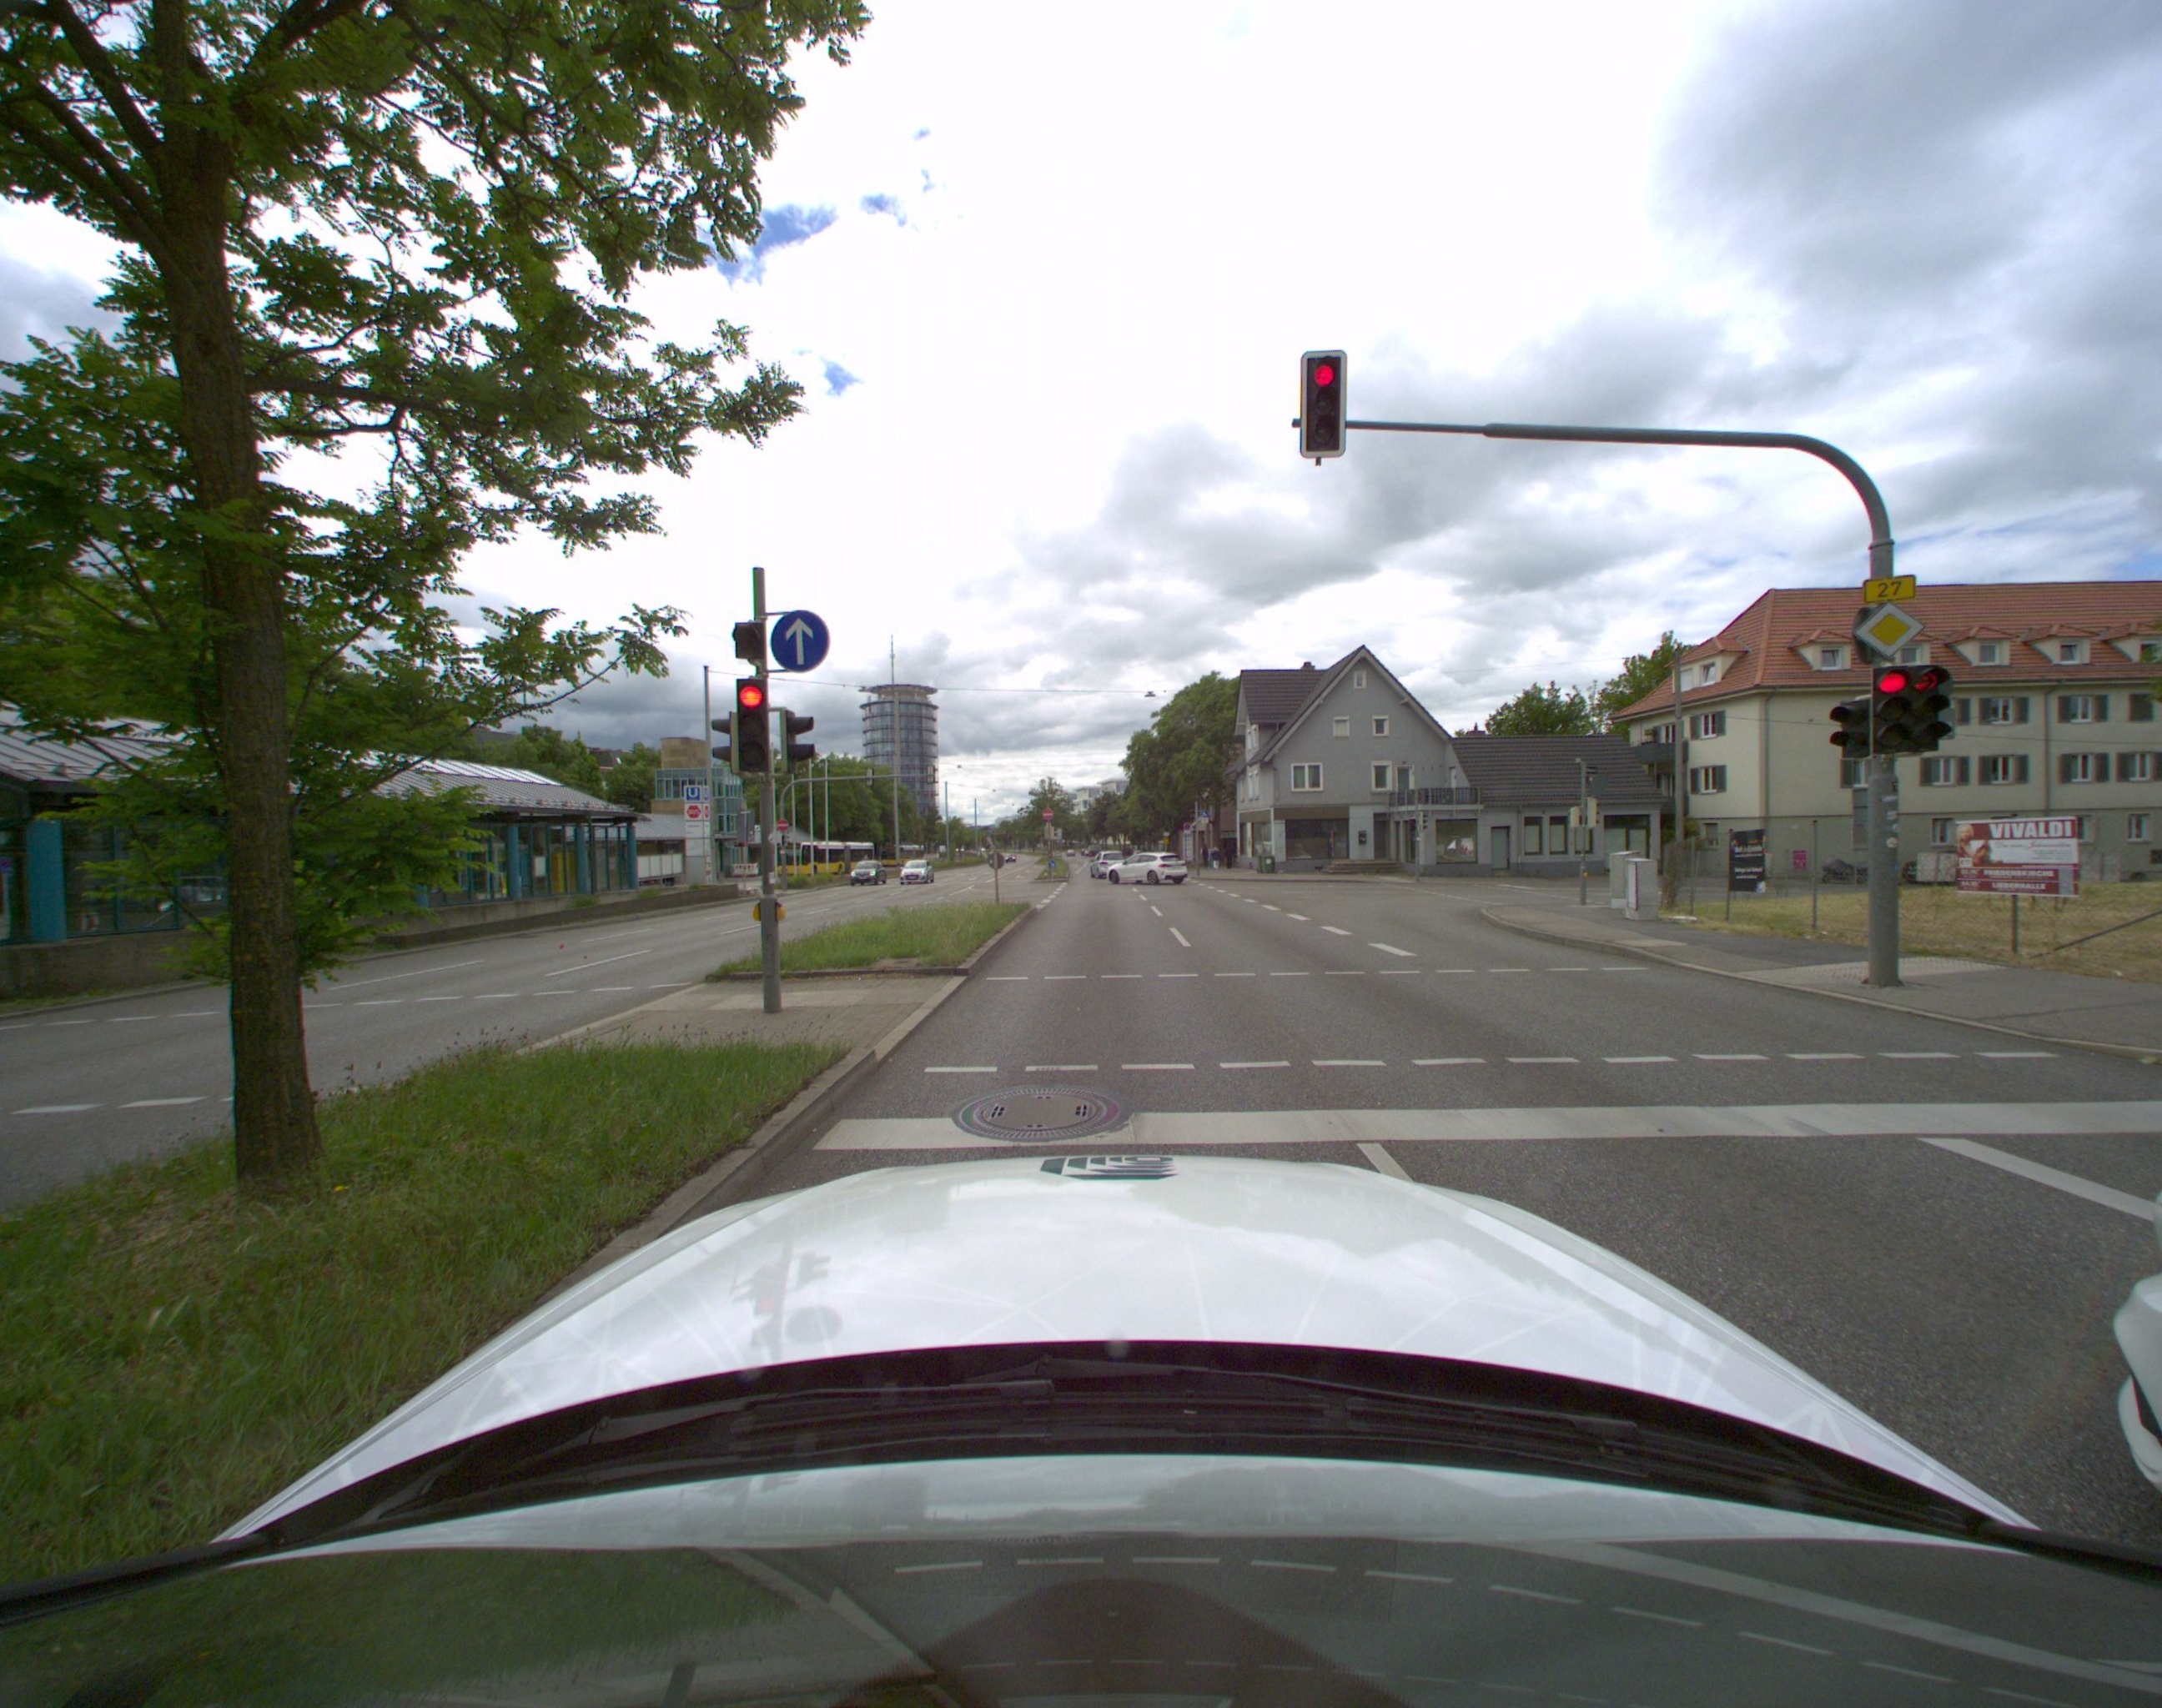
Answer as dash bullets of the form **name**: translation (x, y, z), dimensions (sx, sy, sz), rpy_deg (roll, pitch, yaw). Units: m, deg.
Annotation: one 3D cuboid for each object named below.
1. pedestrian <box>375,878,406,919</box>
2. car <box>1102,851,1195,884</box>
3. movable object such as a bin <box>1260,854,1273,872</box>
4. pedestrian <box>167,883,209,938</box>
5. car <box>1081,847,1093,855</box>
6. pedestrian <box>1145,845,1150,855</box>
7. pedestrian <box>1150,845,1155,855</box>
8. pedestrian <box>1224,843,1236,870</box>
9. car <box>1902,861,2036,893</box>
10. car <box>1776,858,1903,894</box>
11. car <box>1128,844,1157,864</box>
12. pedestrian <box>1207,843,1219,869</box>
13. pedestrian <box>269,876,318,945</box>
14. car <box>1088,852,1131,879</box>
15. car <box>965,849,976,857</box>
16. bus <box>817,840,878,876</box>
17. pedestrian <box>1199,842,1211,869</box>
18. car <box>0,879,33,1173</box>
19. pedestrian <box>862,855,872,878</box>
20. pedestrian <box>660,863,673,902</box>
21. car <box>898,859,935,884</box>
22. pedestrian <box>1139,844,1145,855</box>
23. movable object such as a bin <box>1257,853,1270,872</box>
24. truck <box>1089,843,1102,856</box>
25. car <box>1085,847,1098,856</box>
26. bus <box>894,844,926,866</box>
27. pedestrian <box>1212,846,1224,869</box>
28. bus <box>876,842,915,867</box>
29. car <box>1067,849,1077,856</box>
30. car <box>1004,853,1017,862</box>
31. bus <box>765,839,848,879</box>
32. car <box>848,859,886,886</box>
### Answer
- **pedestrian**: translation (-26.983, 1.725, 31.843), dimensions (0.632, 1.571, 0.661), rpy_deg (0, -1, 0)
- **car**: translation (3.140, 0.604, 38.556), dimensions (2.010, 1.477, 4.206), rpy_deg (-1, 1, -40)
- **movable object such as a bin**: translation (10.036, 0.476, 43.963), dimensions (0.527, 0.979, 0.737), rpy_deg (-2, 0, 2)
- **pedestrian**: translation (-28.044, 1.756, 25.574), dimensions (0.520, 1.655, 0.709), rpy_deg (-1, 0, -5)
- **car**: translation (1.286, -0.558, 174.112), dimensions (2.246, 1.647, 4.927), rpy_deg (-2, 0, -3)
- **pedestrian**: translation (10.559, -0.604, 129.093), dimensions (0.649, 1.570, 0.669), rpy_deg (-2, 0, -6)
- **pedestrian**: translation (11.342, -0.612, 129.173), dimensions (0.649, 1.570, 0.669), rpy_deg (-2, 0, -6)
- **pedestrian**: translation (9.904, 0.182, 54.053), dimensions (0.701, 1.760, 1.054), rpy_deg (-2, 0, 8)
- **car**: translation (39.817, 1.022, 36.585), dimensions (3.972, 1.377, 1.871), rpy_deg (0, 0, 2)
- **car**: translation (34.047, 0.985, 36.623), dimensions (3.972, 1.537, 1.871), rpy_deg (0, 0, 2)
- **car**: translation (4.838, 0.006, 64.443), dimensions (1.884, 1.494, 4.096), rpy_deg (-2, -1, -2)
- **pedestrian**: translation (9.309, 0.147, 57.417), dimensions (0.701, 1.780, 0.872), rpy_deg (-2, 0, 7)
- **pedestrian**: translation (-20.843, 1.489, 21.570), dimensions (0.528, 1.762, 0.755), rpy_deg (-2, 0, -3)
- **car**: translation (1.613, 0.626, 47.989), dimensions (1.822, 1.540, 4.102), rpy_deg (0, 0, -9)
- **car**: translation (-27.264, -0.174, 201.221), dimensions (1.958, 2.014, 4.001), rpy_deg (0, -1, 2)
- **bus**: translation (-23.350, 0.370, 81.871), dimensions (2.975, 3.270, 7.889), rpy_deg (-2, 0, 6)
- **pedestrian**: translation (8.335, 0.130, 54.845), dimensions (0.701, 1.780, 0.872), rpy_deg (-2, 0, 7)
- **car**: translation (-6.236, 0.939, 2.030), dimensions (1.705, 1.481, 4.284), rpy_deg (-3, 1, -3)
- **pedestrian**: translation (-18.281, 1.063, 69.566), dimensions (0.658, 1.897, 0.686), rpy_deg (-2, 0, 3)
- **pedestrian**: translation (-17.286, 1.176, 33.947), dimensions (0.420, 1.591, 0.353), rpy_deg (-2, 0, -28)
- **car**: translation (-10.335, 1.056, 51.327), dimensions (1.680, 1.462, 3.552), rpy_deg (-2, 0, -3)
- **pedestrian**: translation (10.924, -0.834, 145.516), dimensions (0.967, 2.014, 0.981), rpy_deg (0, -1, 1)
- **movable object such as a bin**: translation (10.042, 0.456, 44.754), dimensions (0.527, 0.979, 0.737), rpy_deg (-2, 0, 2)
- **truck**: translation (2.753, -0.818, 156.676), dimensions (2.246, 2.416, 4.928), rpy_deg (-1, 0, -3)
- **car**: translation (2.095, -0.474, 165.290), dimensions (2.246, 1.757, 4.928), rpy_deg (-2, 0, -3)
- **bus**: translation (-26.037, 0.123, 124.330), dimensions (3.134, 3.225, 7.765), rpy_deg (-2, 0, 0)
- **pedestrian**: translation (9.147, 0.238, 54.328), dimensions (0.702, 1.507, 0.871), rpy_deg (-2, 0, 6)
- **bus**: translation (-26.094, 0.097, 115.321), dimensions (3.135, 3.225, 10.282), rpy_deg (-2, 0, 0)
- **car**: translation (-1.913, -0.356, 173.478), dimensions (1.963, 1.420, 4.017), rpy_deg (-2, 0, -3)
- **car**: translation (-11.723, 0.568, 135.349), dimensions (1.697, 1.492, 3.561), rpy_deg (-2, 0, 0)
- **bus**: translation (-24.321, 0.403, 72.872), dimensions (2.975, 3.250, 10.186), rpy_deg (-2, 0, 6)
- **car**: translation (-13.489, 1.147, 51.538), dimensions (1.681, 1.578, 3.344), rpy_deg (-2, 0, -4)
